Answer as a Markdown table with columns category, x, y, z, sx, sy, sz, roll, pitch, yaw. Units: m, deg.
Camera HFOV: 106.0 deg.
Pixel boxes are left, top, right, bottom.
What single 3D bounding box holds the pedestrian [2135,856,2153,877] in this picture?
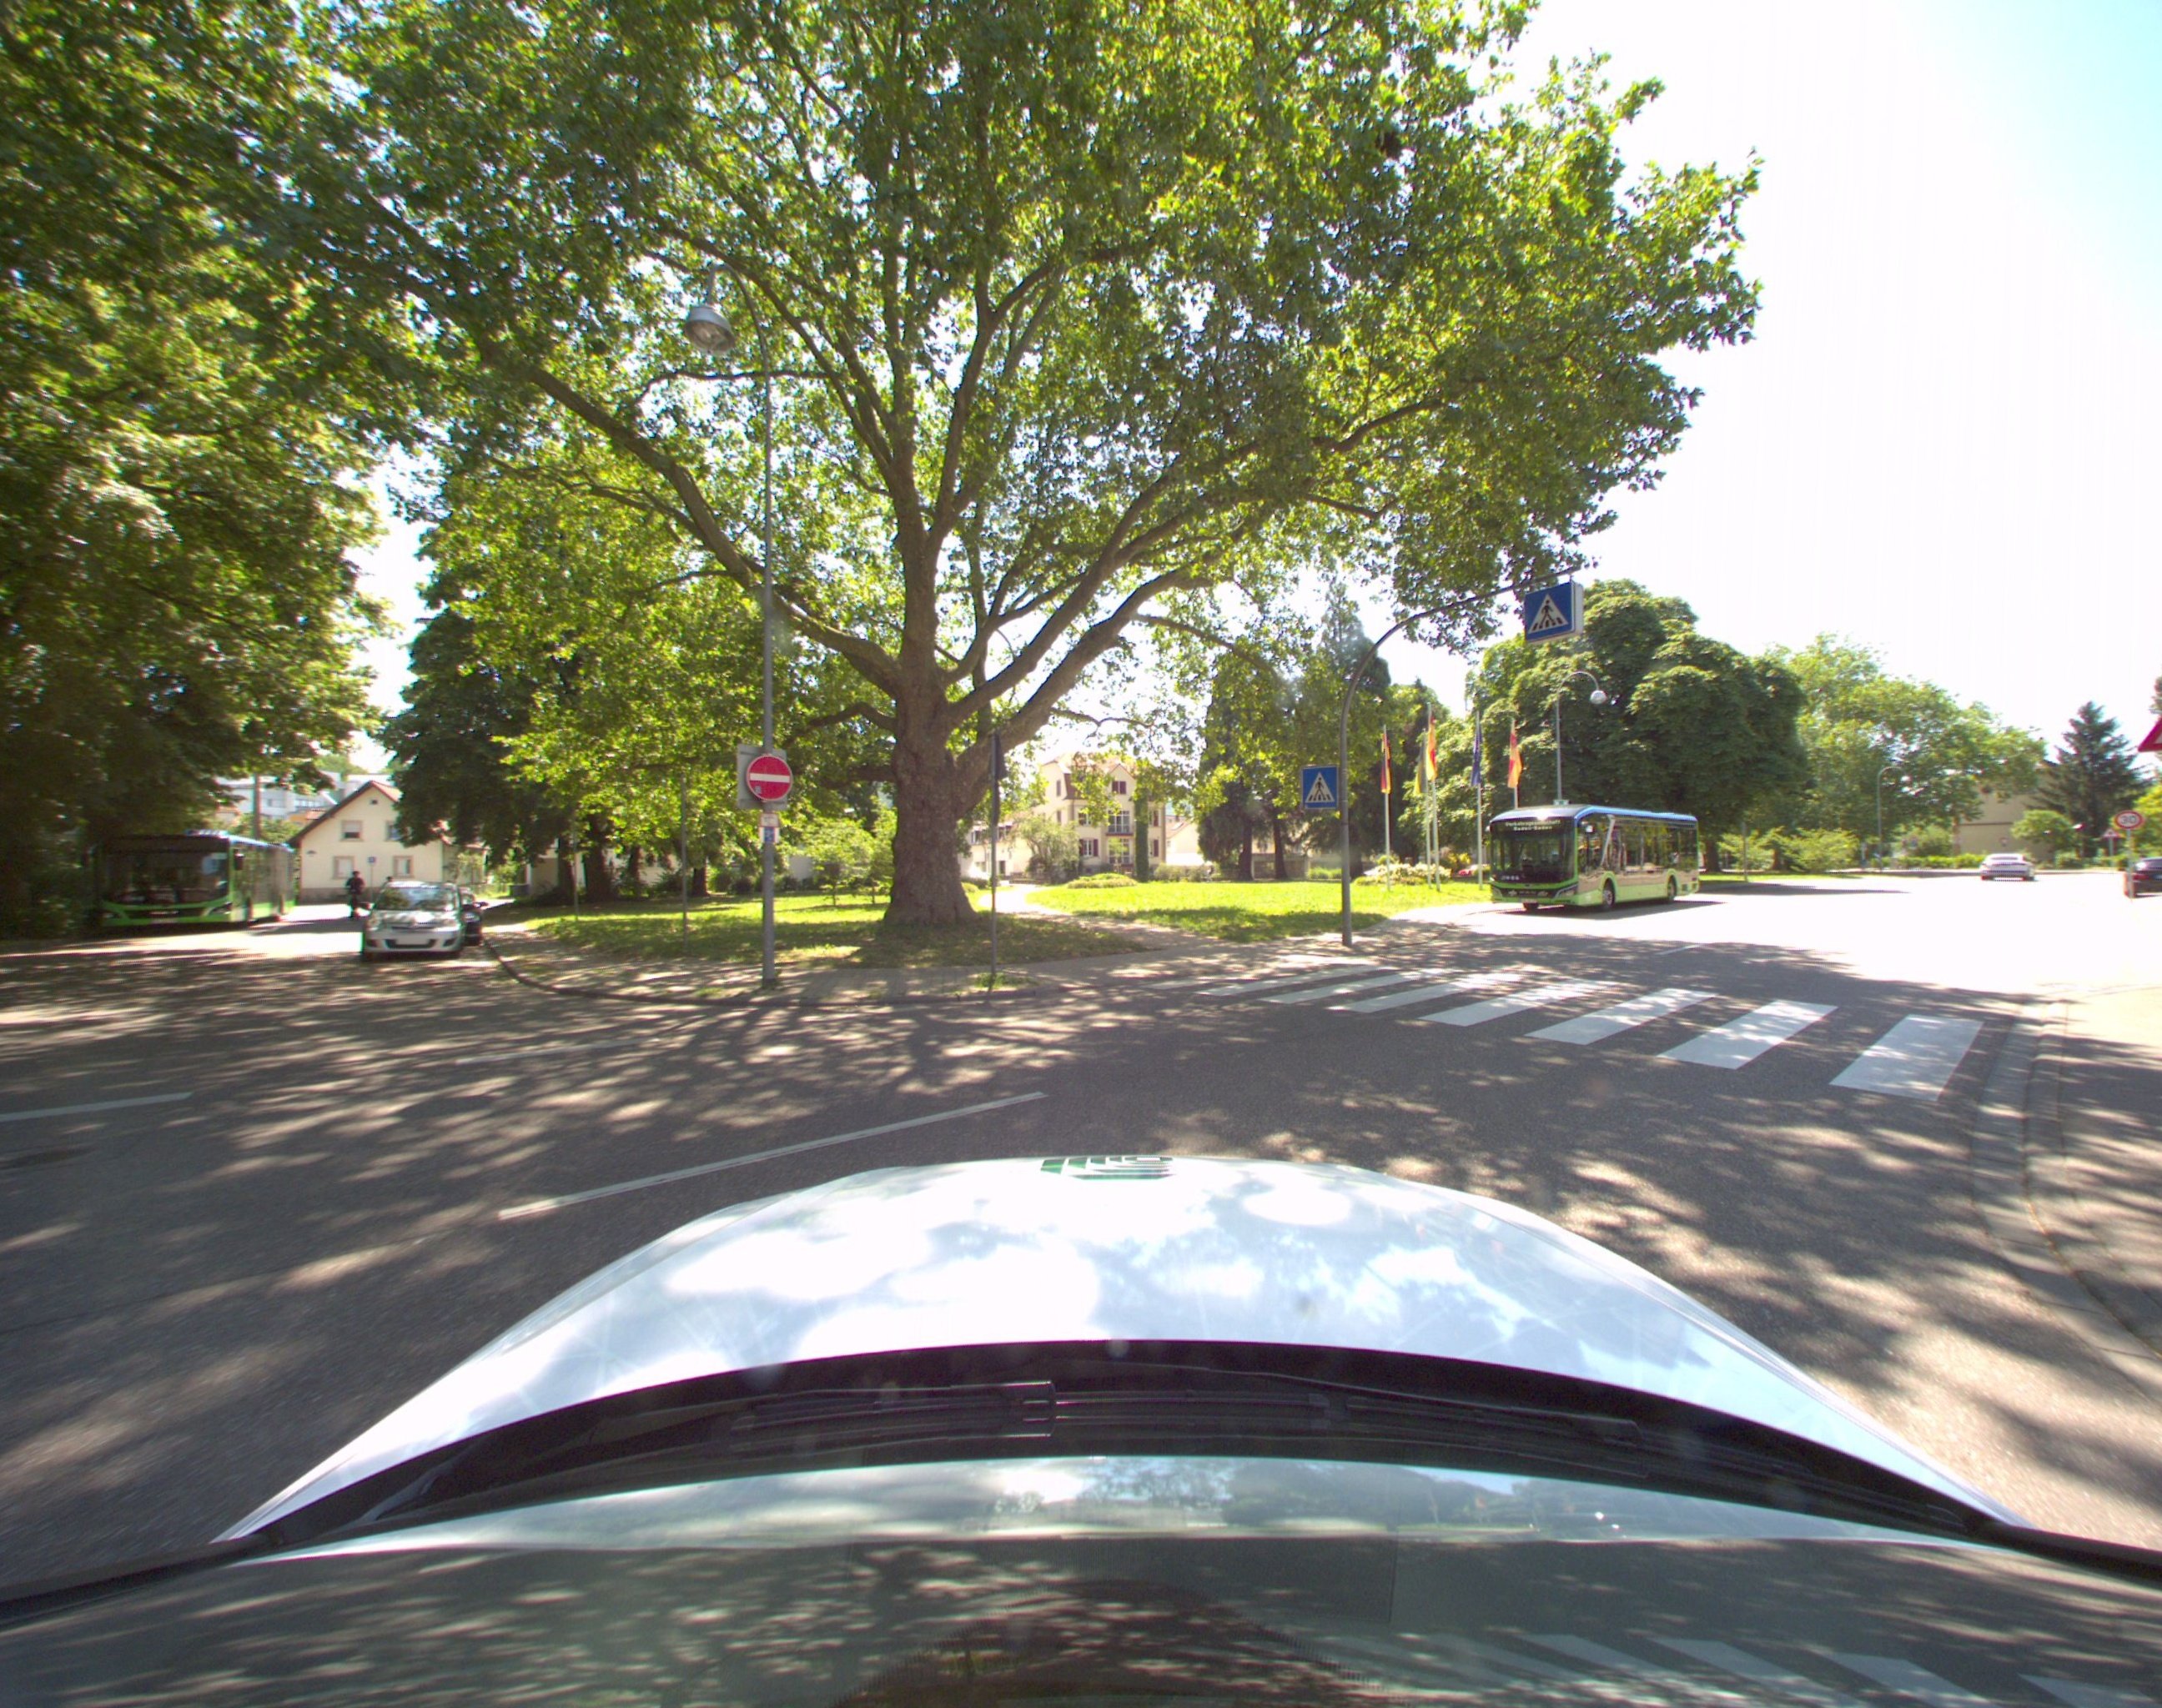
| category | x | y | z | sx | sy | sz | roll | pitch | yaw |
| --- | --- | --- | --- | --- | --- | --- | --- | --- | --- |
| pedestrian | 86.341 | 0.992 | 66.134 | 0.748 | 1.649 | 0.635 | 2 | -2 | -10 |

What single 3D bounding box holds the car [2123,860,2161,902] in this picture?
| category | x | y | z | sx | sy | sz | roll | pitch | yaw |
| --- | --- | --- | --- | --- | --- | --- | --- | --- | --- |
| car | 39.999 | 0.946 | 29.929 | 4.748 | 1.461 | 1.910 | 1 | -4 | -39 |

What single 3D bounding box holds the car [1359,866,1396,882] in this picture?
| category | x | y | z | sx | sy | sz | roll | pitch | yaw |
| --- | --- | --- | --- | --- | --- | --- | --- | --- | --- |
| car | 34.794 | 2.346 | 95.643 | 4.009 | 1.751 | 1.860 | 1 | 0 | -28 |

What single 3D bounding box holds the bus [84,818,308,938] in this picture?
| category | x | y | z | sx | sy | sz | roll | pitch | yaw |
| --- | --- | --- | --- | --- | --- | --- | --- | --- | --- |
| bus | -31.081 | 0.856 | 29.506 | 2.891 | 3.295 | 15.768 | 0 | -2 | -38 |

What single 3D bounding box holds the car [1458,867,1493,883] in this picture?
| category | x | y | z | sx | sy | sz | roll | pitch | yaw |
| --- | --- | --- | --- | --- | --- | --- | --- | --- | --- |
| car | 49.645 | 2.652 | 102.468 | 4.009 | 1.838 | 1.860 | 1 | 0 | -28 |

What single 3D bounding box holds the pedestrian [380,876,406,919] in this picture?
| category | x | y | z | sx | sy | sz | roll | pitch | yaw |
| --- | --- | --- | --- | --- | --- | --- | --- | --- | --- |
| pedestrian | -29.378 | 1.828 | 34.790 | 0.724 | 1.802 | 0.931 | 0 | -2 | -32 |

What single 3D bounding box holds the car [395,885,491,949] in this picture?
| category | x | y | z | sx | sy | sz | roll | pitch | yaw |
| --- | --- | --- | --- | --- | --- | --- | --- | --- | --- |
| car | -16.471 | 1.551 | 21.082 | 1.764 | 1.439 | 4.451 | 2 | -3 | -38 |

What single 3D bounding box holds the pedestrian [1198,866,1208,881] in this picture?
| category | x | y | z | sx | sy | sz | roll | pitch | yaw |
| --- | --- | --- | --- | --- | --- | --- | --- | --- | --- |
| pedestrian | 10.908 | 1.750 | 72.932 | 0.819 | 1.371 | 0.620 | 1 | 0 | 12 |

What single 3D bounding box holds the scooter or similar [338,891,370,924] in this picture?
| category | x | y | z | sx | sy | sz | roll | pitch | yaw |
| --- | --- | --- | --- | --- | --- | --- | --- | --- | --- |
| scooter or similar | -28.517 | 2.081 | 31.962 | 0.744 | 1.183 | 1.503 | 0 | -1 | -34 |

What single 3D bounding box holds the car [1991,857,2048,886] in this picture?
| category | x | y | z | sx | sy | sz | roll | pitch | yaw |
| --- | --- | --- | --- | --- | --- | --- | --- | --- | --- |
| car | 57.276 | 1.047 | 49.668 | 4.801 | 1.627 | 1.966 | 0 | -2 | -38 |

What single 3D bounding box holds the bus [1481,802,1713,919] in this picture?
| category | x | y | z | sx | sy | sz | roll | pitch | yaw |
| --- | --- | --- | --- | --- | --- | --- | --- | --- | --- |
| bus | 18.127 | 0.210 | 27.980 | 12.485 | 3.283 | 2.785 | 0 | -1 | -39 |

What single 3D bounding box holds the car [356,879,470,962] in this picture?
| category | x | y | z | sx | sy | sz | roll | pitch | yaw |
| --- | --- | --- | --- | --- | --- | --- | --- | --- | --- |
| car | -13.529 | 1.264 | 16.620 | 1.607 | 1.497 | 3.446 | 2 | -3 | -38 |

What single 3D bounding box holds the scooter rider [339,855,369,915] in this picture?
| category | x | y | z | sx | sy | sz | roll | pitch | yaw |
| --- | --- | --- | --- | --- | --- | --- | --- | --- | --- |
| scooter rider | -28.520 | 1.196 | 31.968 | 0.744 | 2.318 | 0.917 | 0 | -1 | -34 |
